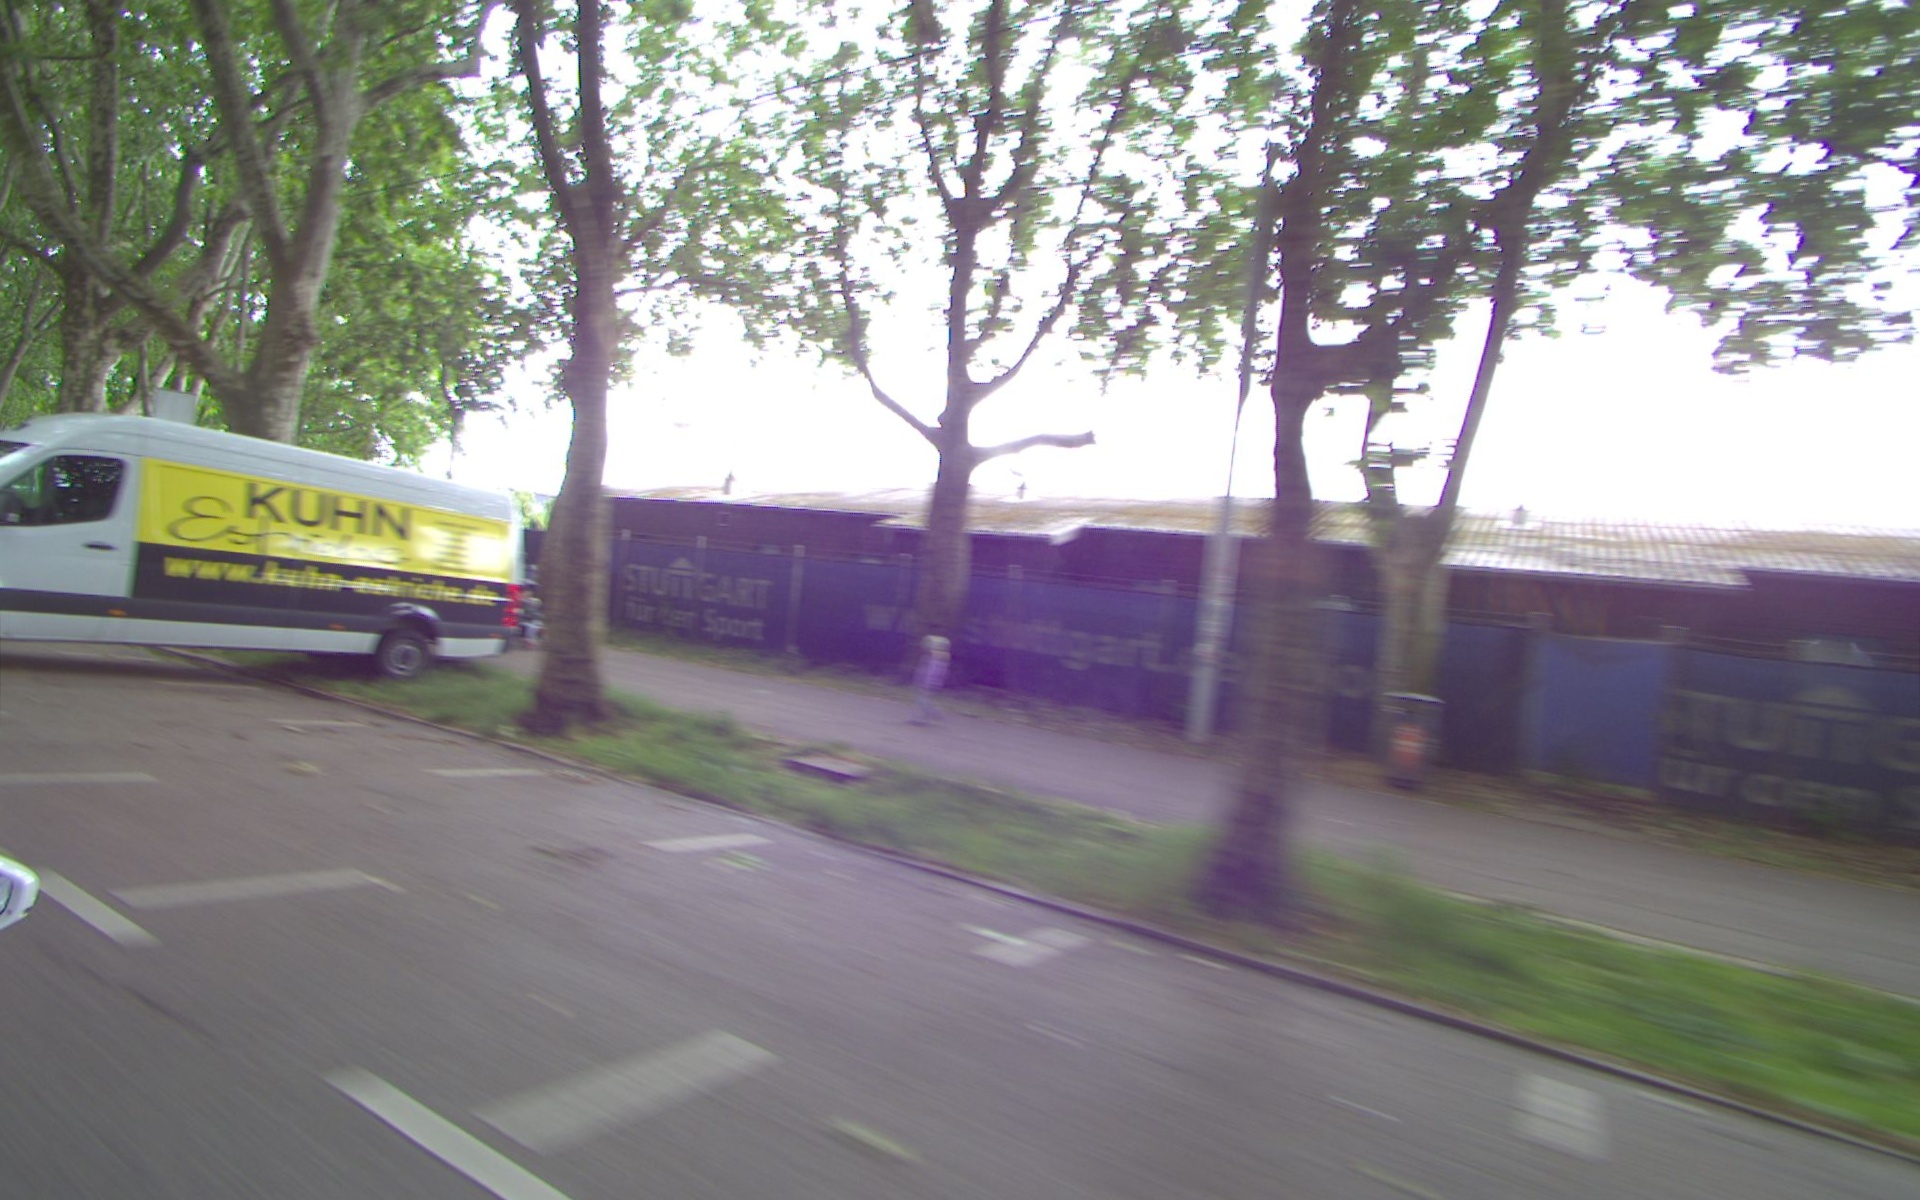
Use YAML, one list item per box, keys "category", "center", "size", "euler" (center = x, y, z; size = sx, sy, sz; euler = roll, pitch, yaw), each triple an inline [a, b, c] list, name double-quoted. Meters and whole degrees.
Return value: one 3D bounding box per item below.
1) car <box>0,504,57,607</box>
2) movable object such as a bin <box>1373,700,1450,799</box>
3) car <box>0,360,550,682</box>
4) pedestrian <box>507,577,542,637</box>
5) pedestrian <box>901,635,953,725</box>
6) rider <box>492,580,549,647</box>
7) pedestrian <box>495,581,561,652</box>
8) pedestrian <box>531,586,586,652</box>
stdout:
- category: "car"
  center: [-15.612, -0.905, 13.885]
  size: [1.587, 1.462, 4.364]
  euler: [6, -2, 35]
- category: "movable object such as a bin"
  center: [5.248, 1.722, 11.684]
  size: [0.663, 0.973, 0.568]
  euler: [7, 5, 30]
- category: "car"
  center: [-8.429, -0.667, 11.358]
  size: [2.092, 2.726, 6.892]
  euler: [7, -2, 32]
- category: "pedestrian"
  center: [-8.086, 0.129, 18.680]
  size: [0.390, 1.047, 0.418]
  euler: [7, -1, -9]
- category: "pedestrian"
  center: [-0.425, 1.022, 12.969]
  size: [0.412, 1.098, 0.395]
  euler: [7, 2, 35]
- category: "rider"
  center: [-7.466, 0.230, 17.104]
  size: [0.579, 1.062, 0.592]
  euler: [8, 3, 34]
- category: "pedestrian"
  center: [-7.200, 0.271, 16.790]
  size: [0.665, 1.072, 0.640]
  euler: [7, -1, 33]
- category: "pedestrian"
  center: [-6.964, 0.331, 17.437]
  size: [0.579, 1.062, 0.592]
  euler: [8, 3, 34]
